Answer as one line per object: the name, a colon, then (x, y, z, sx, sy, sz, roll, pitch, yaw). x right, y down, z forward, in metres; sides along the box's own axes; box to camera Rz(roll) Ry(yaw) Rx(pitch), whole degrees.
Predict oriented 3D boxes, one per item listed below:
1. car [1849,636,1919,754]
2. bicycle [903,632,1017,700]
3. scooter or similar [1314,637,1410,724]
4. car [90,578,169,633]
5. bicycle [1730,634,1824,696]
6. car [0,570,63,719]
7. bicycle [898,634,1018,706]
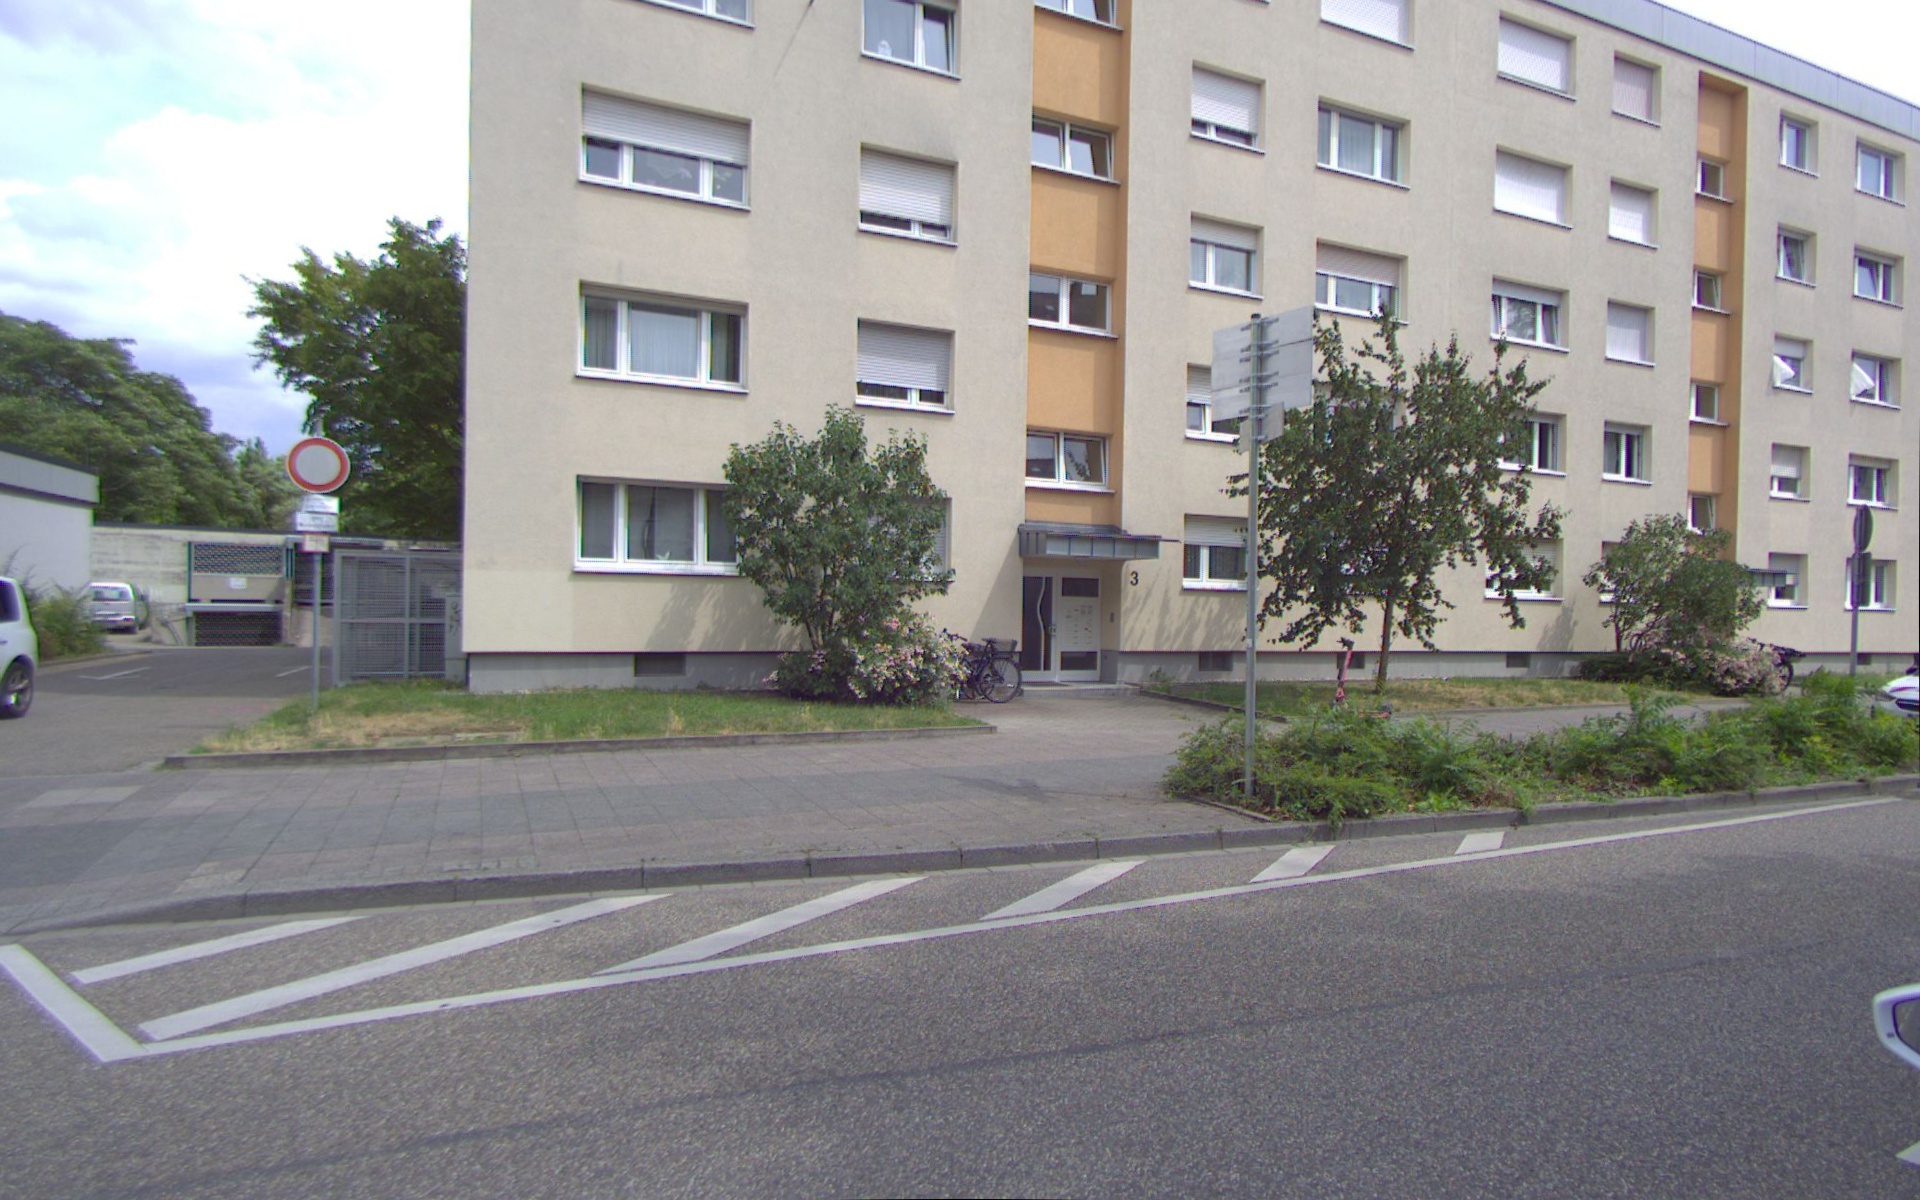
car: (14.291, 1.300, 13.761, 3.935, 1.492, 1.703, 1, 1, -25)
bicycle: (0.007, 1.055, 16.171, 1.777, 1.051, 0.410, 2, -1, -20)
scooter or similar: (5.815, 1.161, 14.536, 1.268, 1.209, 0.402, 1, 1, -15)
car: (-28.146, 0.179, 34.128, 1.684, 1.759, 3.631, 1, -1, -34)
bicycle: (17.447, 1.373, 21.447, 1.902, 1.268, 0.579, 0, 0, -16)
car: (-11.534, 0.483, 10.308, 1.821, 1.708, 4.626, 1, -1, -20)
bicycle: (-0.029, 1.063, 15.297, 1.776, 1.051, 0.411, 1, -1, -18)
